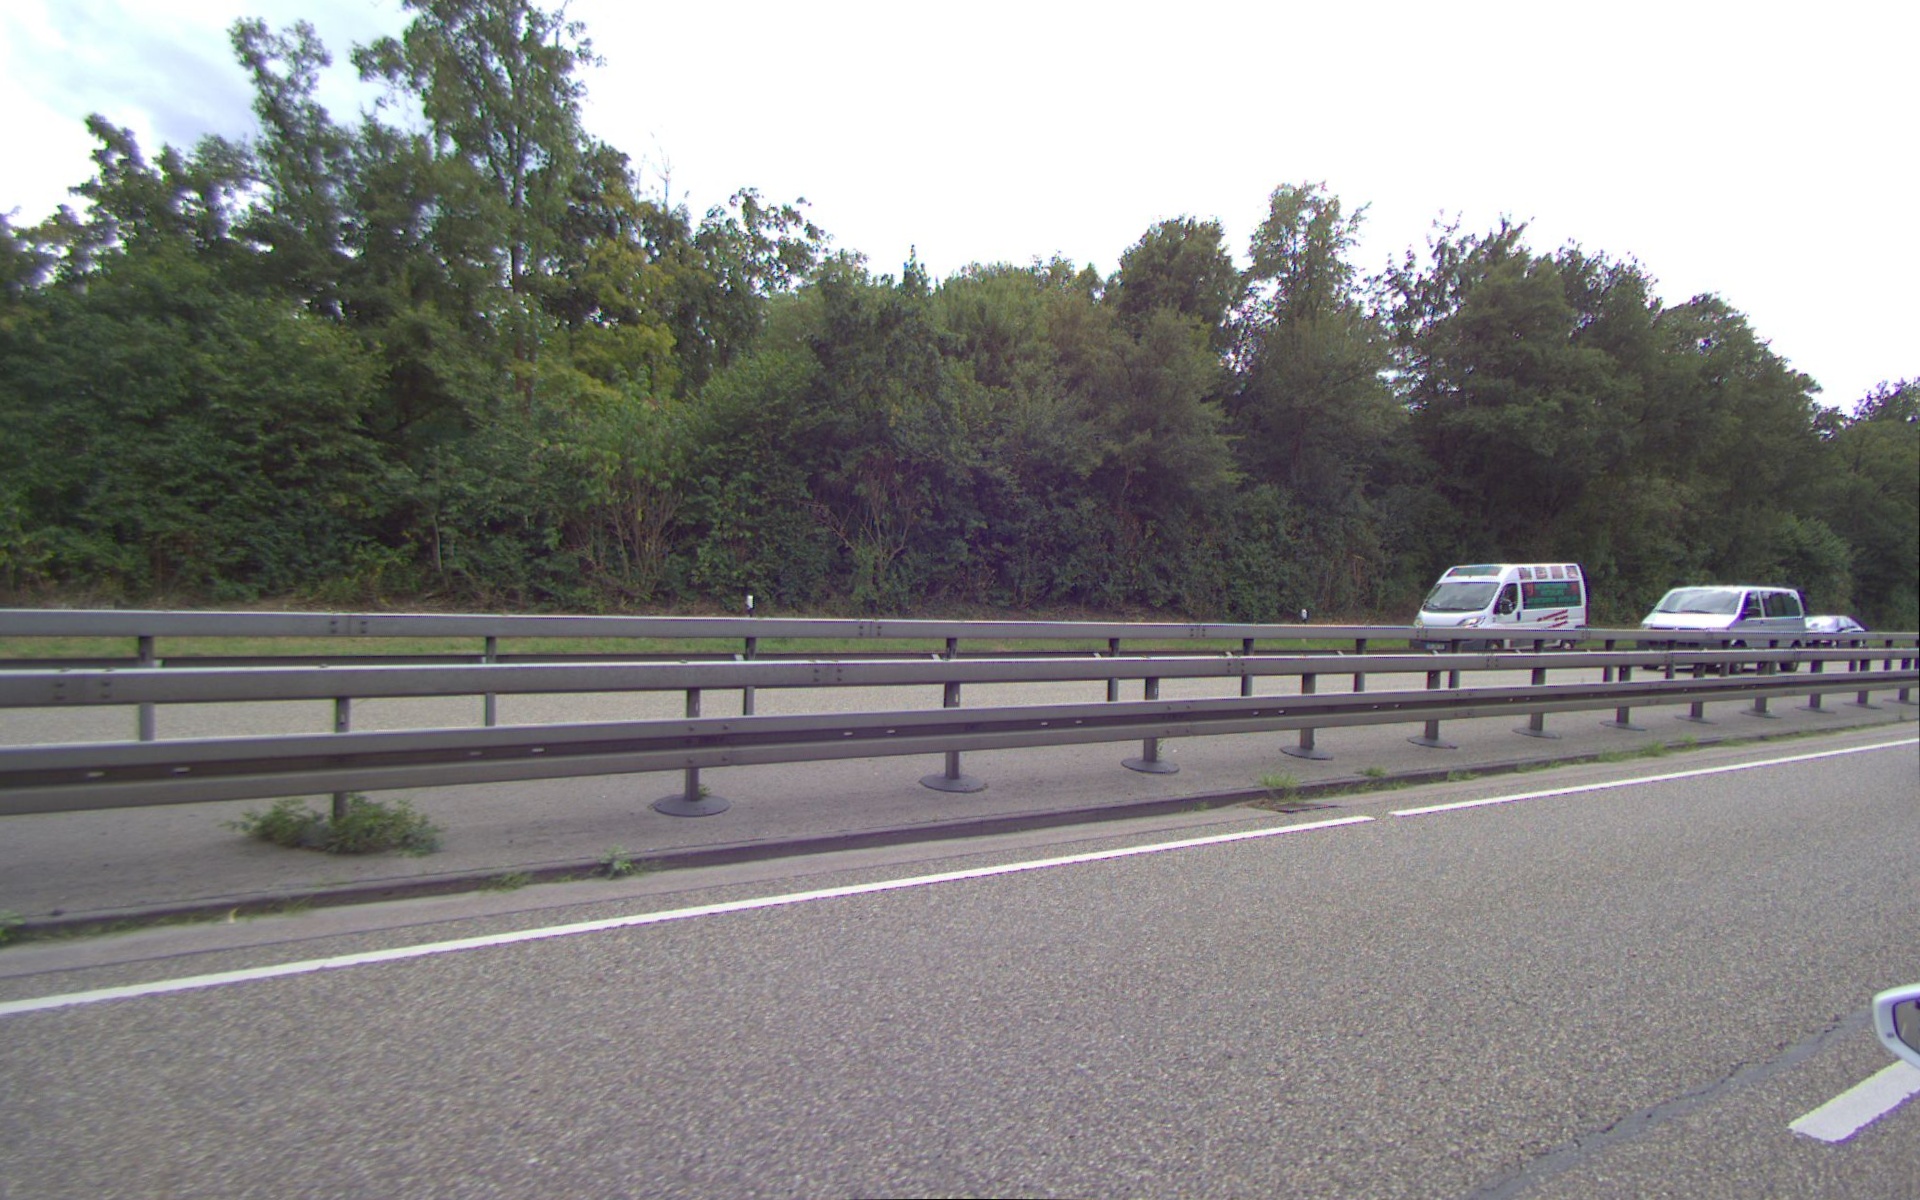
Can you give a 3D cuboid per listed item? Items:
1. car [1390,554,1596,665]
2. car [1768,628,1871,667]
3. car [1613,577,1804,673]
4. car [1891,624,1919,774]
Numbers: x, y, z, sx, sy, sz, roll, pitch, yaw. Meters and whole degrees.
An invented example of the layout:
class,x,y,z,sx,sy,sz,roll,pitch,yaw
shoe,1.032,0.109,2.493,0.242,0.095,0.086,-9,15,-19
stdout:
class,x,y,z,sx,sy,sz,roll,pitch,yaw
car,13.996,0.292,26.291,5.491,2.645,2.299,2,-1,-32
car,31.710,1.736,37.047,4.062,1.313,1.765,2,-1,-32
car,17.262,0.588,23.095,5.001,2.009,1.812,2,-1,-32
car,11.813,1.038,10.550,4.587,1.477,1.817,2,-1,-32
